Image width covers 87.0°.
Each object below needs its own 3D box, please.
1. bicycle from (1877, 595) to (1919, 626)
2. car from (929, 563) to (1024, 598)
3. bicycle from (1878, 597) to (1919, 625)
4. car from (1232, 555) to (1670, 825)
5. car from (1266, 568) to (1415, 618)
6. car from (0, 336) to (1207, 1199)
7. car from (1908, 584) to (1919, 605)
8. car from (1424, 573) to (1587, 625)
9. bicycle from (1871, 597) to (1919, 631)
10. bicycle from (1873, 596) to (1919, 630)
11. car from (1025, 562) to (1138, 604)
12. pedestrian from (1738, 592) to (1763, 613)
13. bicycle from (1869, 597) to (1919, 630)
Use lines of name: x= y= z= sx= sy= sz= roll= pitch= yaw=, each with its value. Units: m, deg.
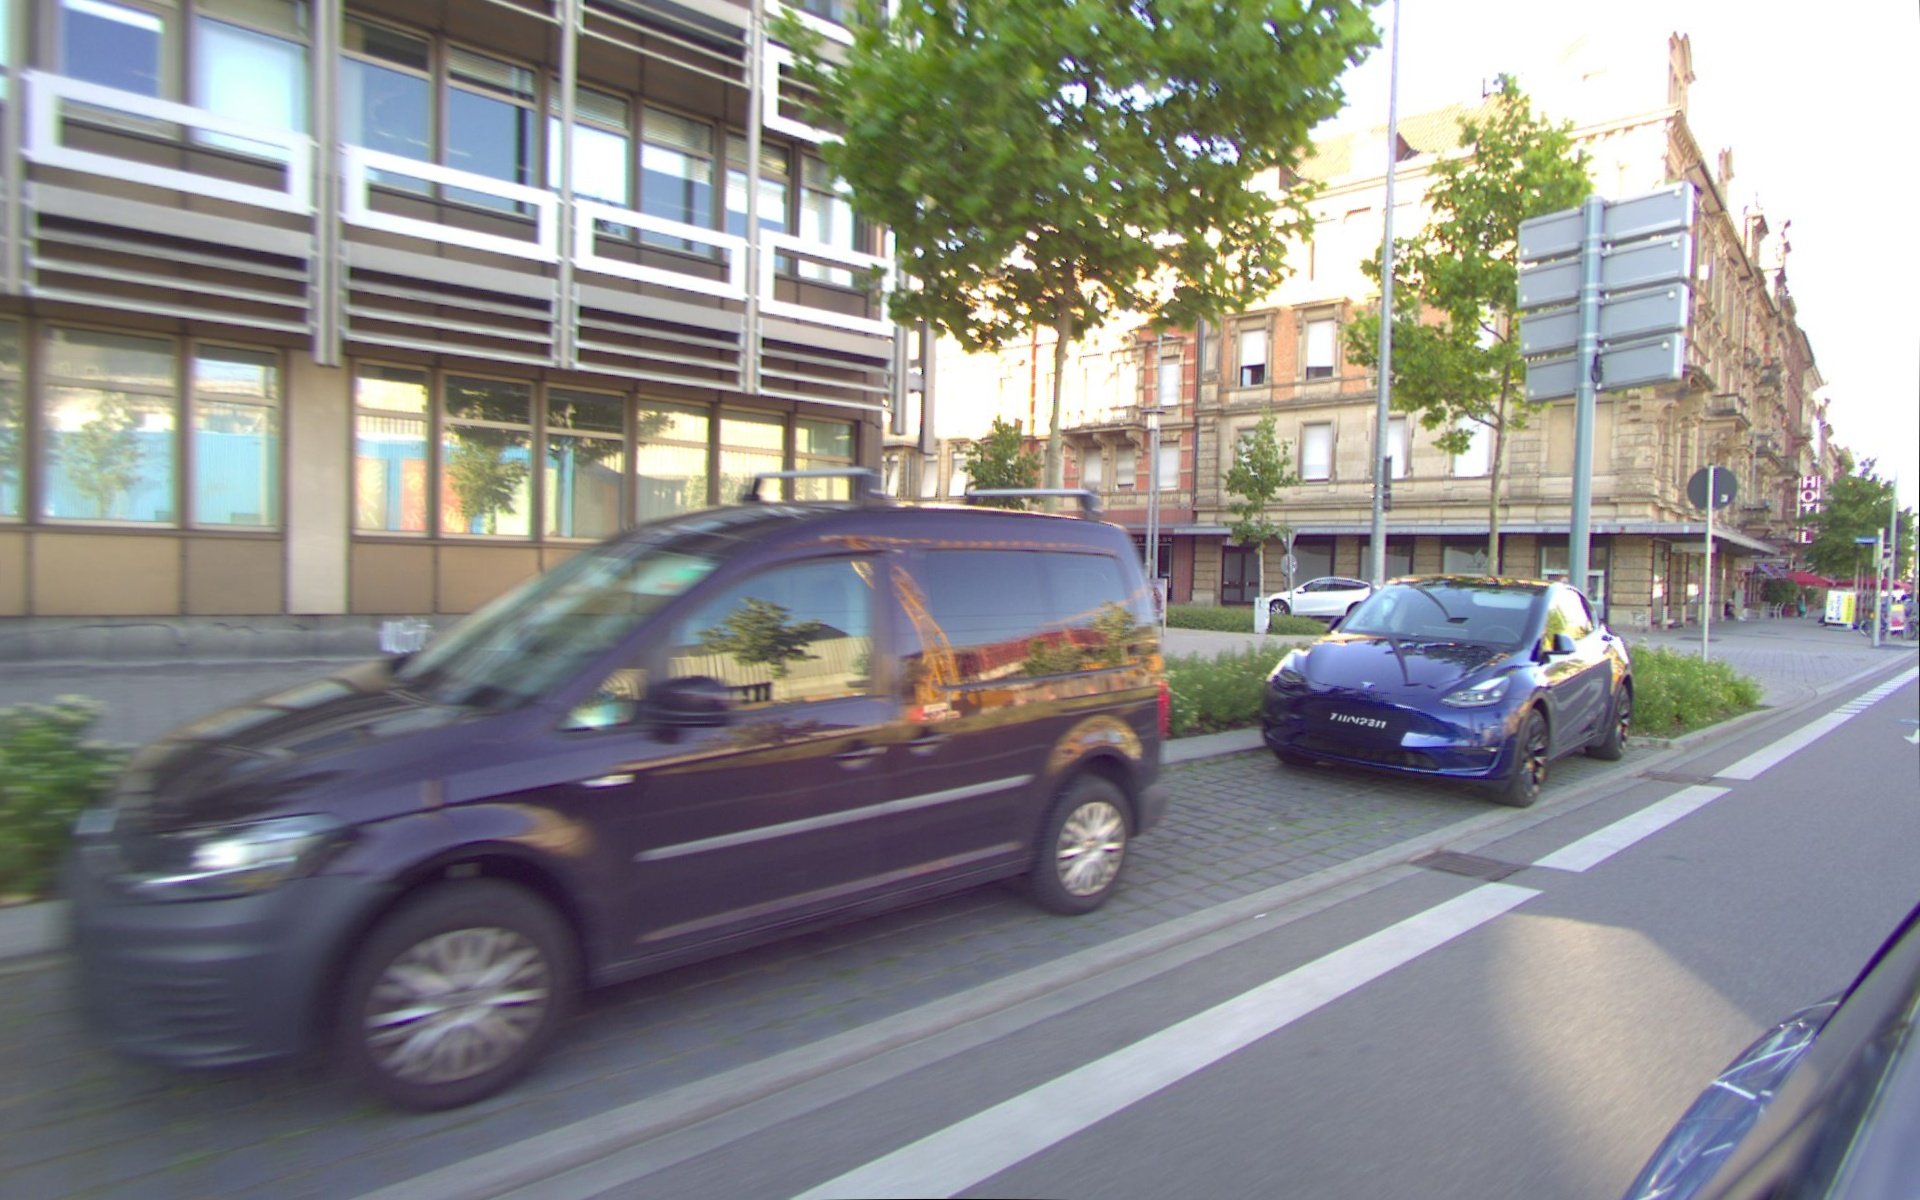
bicycle: x=37.729 y=0.426 z=40.187 sx=0.556 sy=1.117 sz=1.849 roll=0 pitch=4 yaw=-39
car: x=0.724 y=-0.923 z=46.241 sx=4.187 sy=1.500 sz=1.837 roll=2 pitch=3 yaw=40
bicycle: x=38.737 y=0.463 z=41.283 sx=0.556 sy=1.060 sz=1.810 roll=0 pitch=4 yaw=-39
car: x=4.407 y=0.515 z=8.670 sx=1.933 sy=1.618 sz=4.624 roll=5 pitch=4 yaw=44
car: x=13.214 y=-0.294 z=35.270 sx=4.534 sy=1.615 sz=1.837 roll=2 pitch=3 yaw=40
car: x=-1.011 y=0.354 z=4.192 sx=4.317 sy=1.942 sz=1.738 roll=0 pitch=4 yaw=-42
car: x=74.418 y=-0.375 z=77.993 sx=1.850 sy=1.583 sz=4.228 roll=5 pitch=4 yaw=44
car: x=17.159 y=-0.073 z=31.935 sx=4.256 sy=1.467 sz=1.837 roll=2 pitch=3 yaw=40
bicycle: x=34.302 y=0.514 z=36.700 sx=0.498 sy=1.117 sz=1.758 roll=0 pitch=4 yaw=-39
bicycle: x=34.725 y=0.485 z=37.099 sx=0.498 sy=1.117 sz=1.758 roll=0 pitch=4 yaw=-39
car: x=5.044 y=-0.763 z=42.453 sx=4.434 sy=1.644 sz=1.850 roll=2 pitch=3 yaw=40
pedestrian: x=36.886 y=0.112 z=47.230 sx=0.791 sy=0.974 sz=0.814 roll=0 pitch=2 yaw=-44
bicycle: x=35.487 y=0.496 z=38.124 sx=0.498 sy=1.117 sz=1.726 roll=0 pitch=4 yaw=-39
